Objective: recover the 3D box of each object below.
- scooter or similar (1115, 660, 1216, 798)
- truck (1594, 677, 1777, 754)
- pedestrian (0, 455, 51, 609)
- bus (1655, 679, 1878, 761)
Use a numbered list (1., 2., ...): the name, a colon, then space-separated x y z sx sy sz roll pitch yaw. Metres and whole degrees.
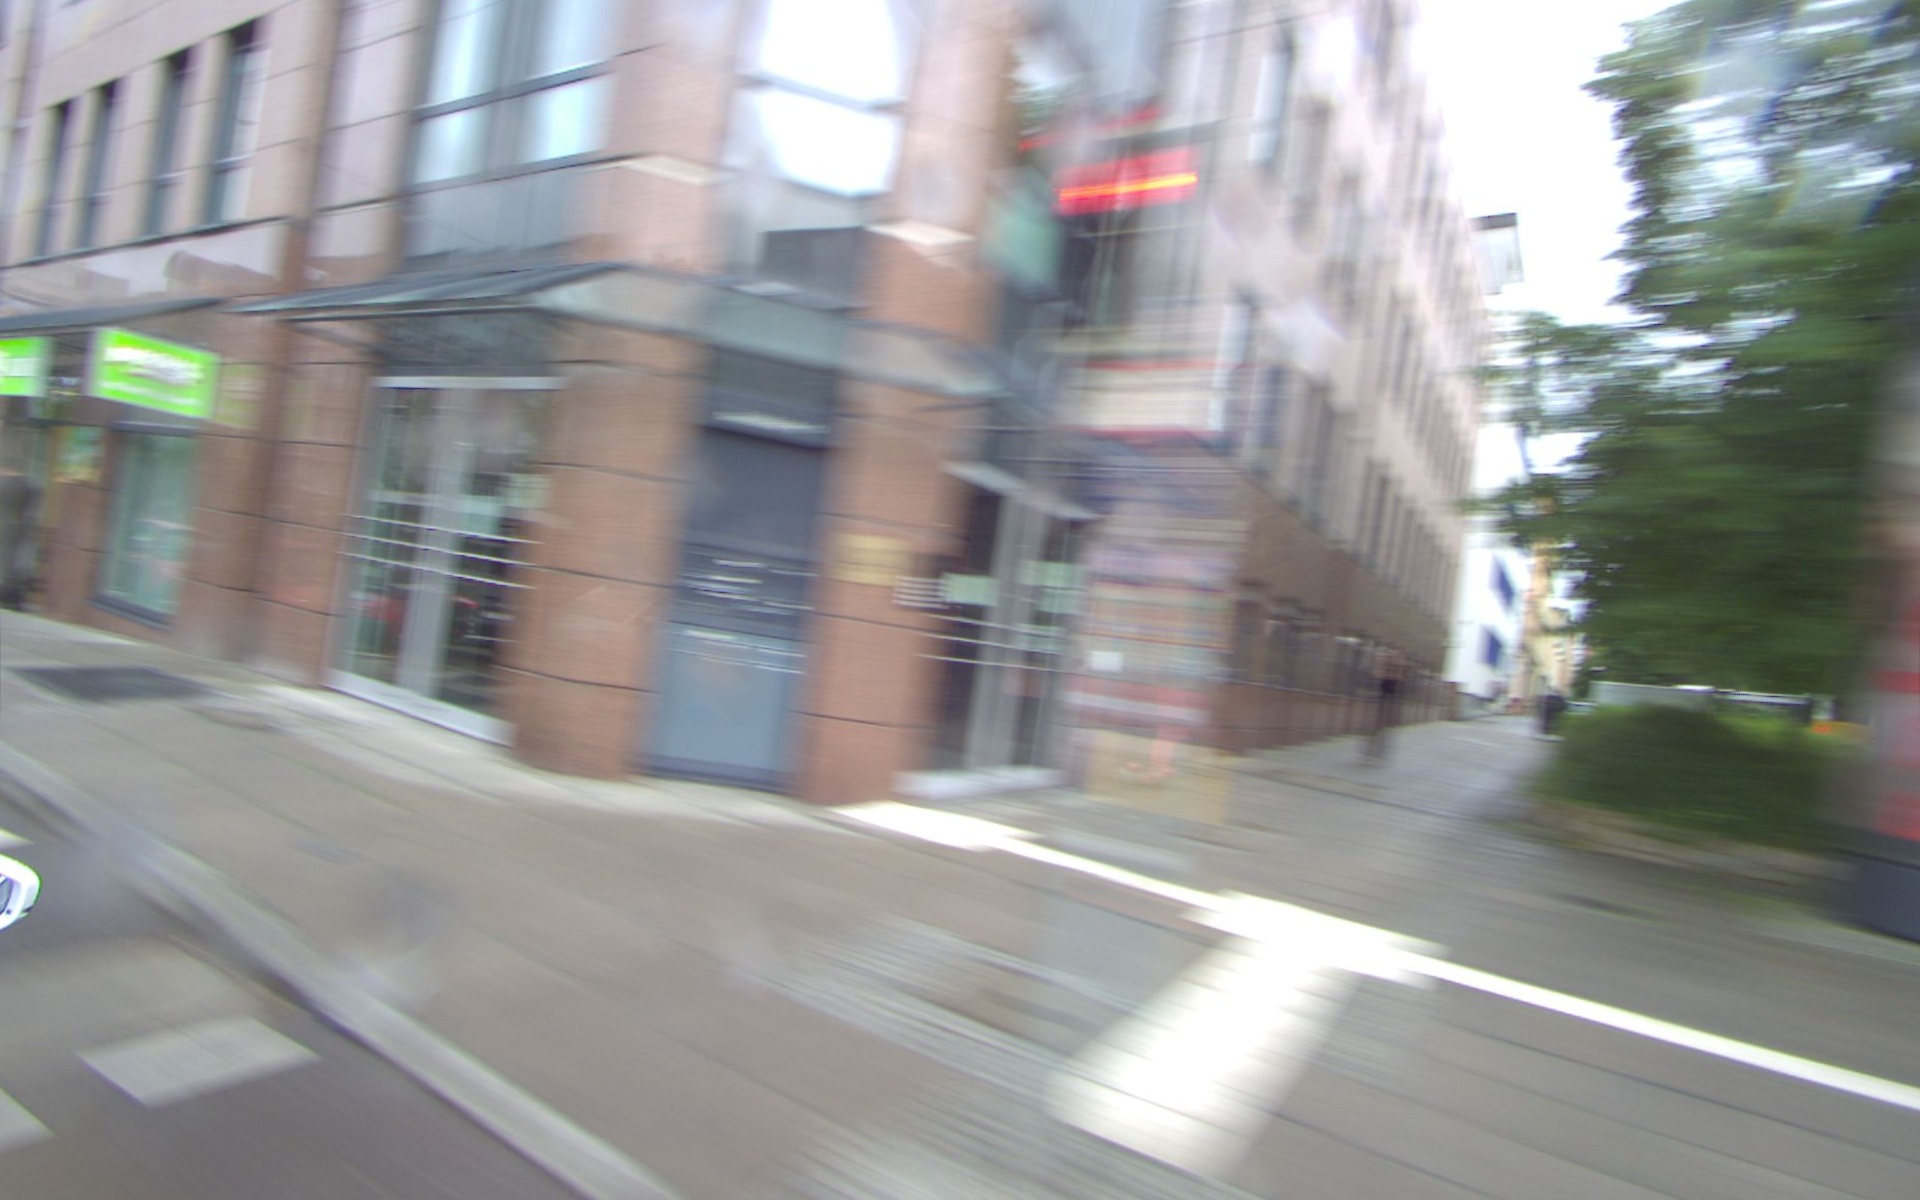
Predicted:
1. scooter or similar: 2.042 1.255 9.900 0.320 1.242 1.375 6 -1 35
2. truck: 30.743 4.873 42.970 5.984 2.305 2.261 6 -1 32
3. pedestrian: -10.840 -0.779 11.344 0.615 1.679 0.602 6 0 33
4. bus: 42.683 6.243 53.975 2.802 3.054 10.503 7 -1 -3
